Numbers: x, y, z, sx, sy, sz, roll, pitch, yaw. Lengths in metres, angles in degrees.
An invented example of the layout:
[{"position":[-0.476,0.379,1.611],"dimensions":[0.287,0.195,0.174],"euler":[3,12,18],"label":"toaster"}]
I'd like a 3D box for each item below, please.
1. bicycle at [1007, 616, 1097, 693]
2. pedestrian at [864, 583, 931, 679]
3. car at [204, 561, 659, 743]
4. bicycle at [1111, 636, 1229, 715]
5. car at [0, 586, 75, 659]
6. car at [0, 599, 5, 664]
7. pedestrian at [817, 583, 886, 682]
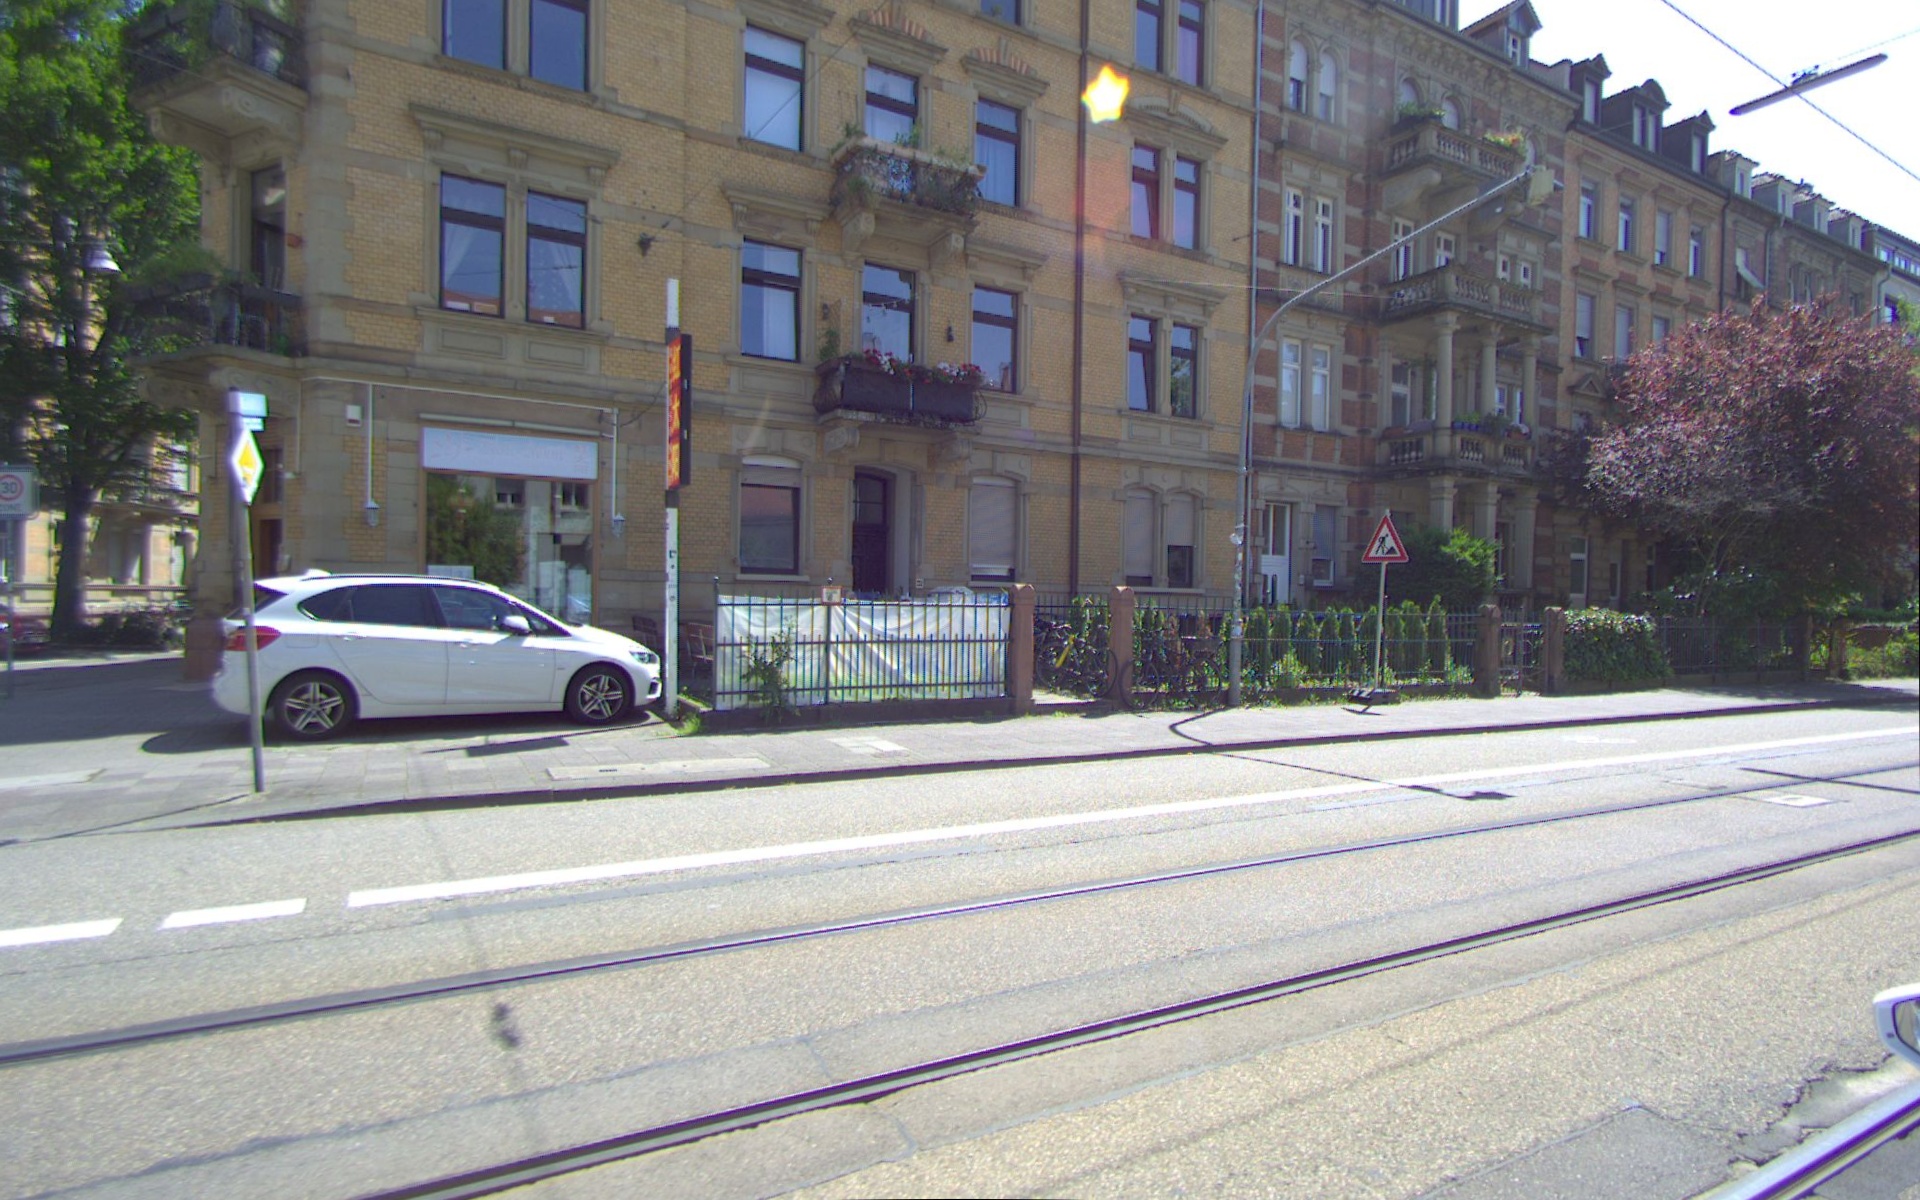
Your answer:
[{"position":[1.316,0.769,14.766],"dimensions":[0.467,1.017,1.775],"euler":[1,0,-25],"label":"bicycle"},{"position":[-0.889,0.443,14.248],"dimensions":[0.704,1.315,0.705],"euler":[0,-1,-34],"label":"pedestrian"},{"position":[-5.576,0.483,10.883],"dimensions":[4.060,1.621,1.853],"euler":[1,1,-35],"label":"car"},{"position":[2.915,1.020,13.868],"dimensions":[1.787,1.017,0.451],"euler":[1,0,-34],"label":"bicycle"},{"position":[-22.493,0.425,22.435],"dimensions":[3.704,1.561,1.628],"euler":[3,-1,-9],"label":"car"},{"position":[-21.689,0.551,19.877],"dimensions":[3.704,1.356,1.628],"euler":[3,-1,-9],"label":"car"},{"position":[-1.499,0.442,13.821],"dimensions":[0.704,1.315,0.705],"euler":[0,-1,-34],"label":"pedestrian"}]
